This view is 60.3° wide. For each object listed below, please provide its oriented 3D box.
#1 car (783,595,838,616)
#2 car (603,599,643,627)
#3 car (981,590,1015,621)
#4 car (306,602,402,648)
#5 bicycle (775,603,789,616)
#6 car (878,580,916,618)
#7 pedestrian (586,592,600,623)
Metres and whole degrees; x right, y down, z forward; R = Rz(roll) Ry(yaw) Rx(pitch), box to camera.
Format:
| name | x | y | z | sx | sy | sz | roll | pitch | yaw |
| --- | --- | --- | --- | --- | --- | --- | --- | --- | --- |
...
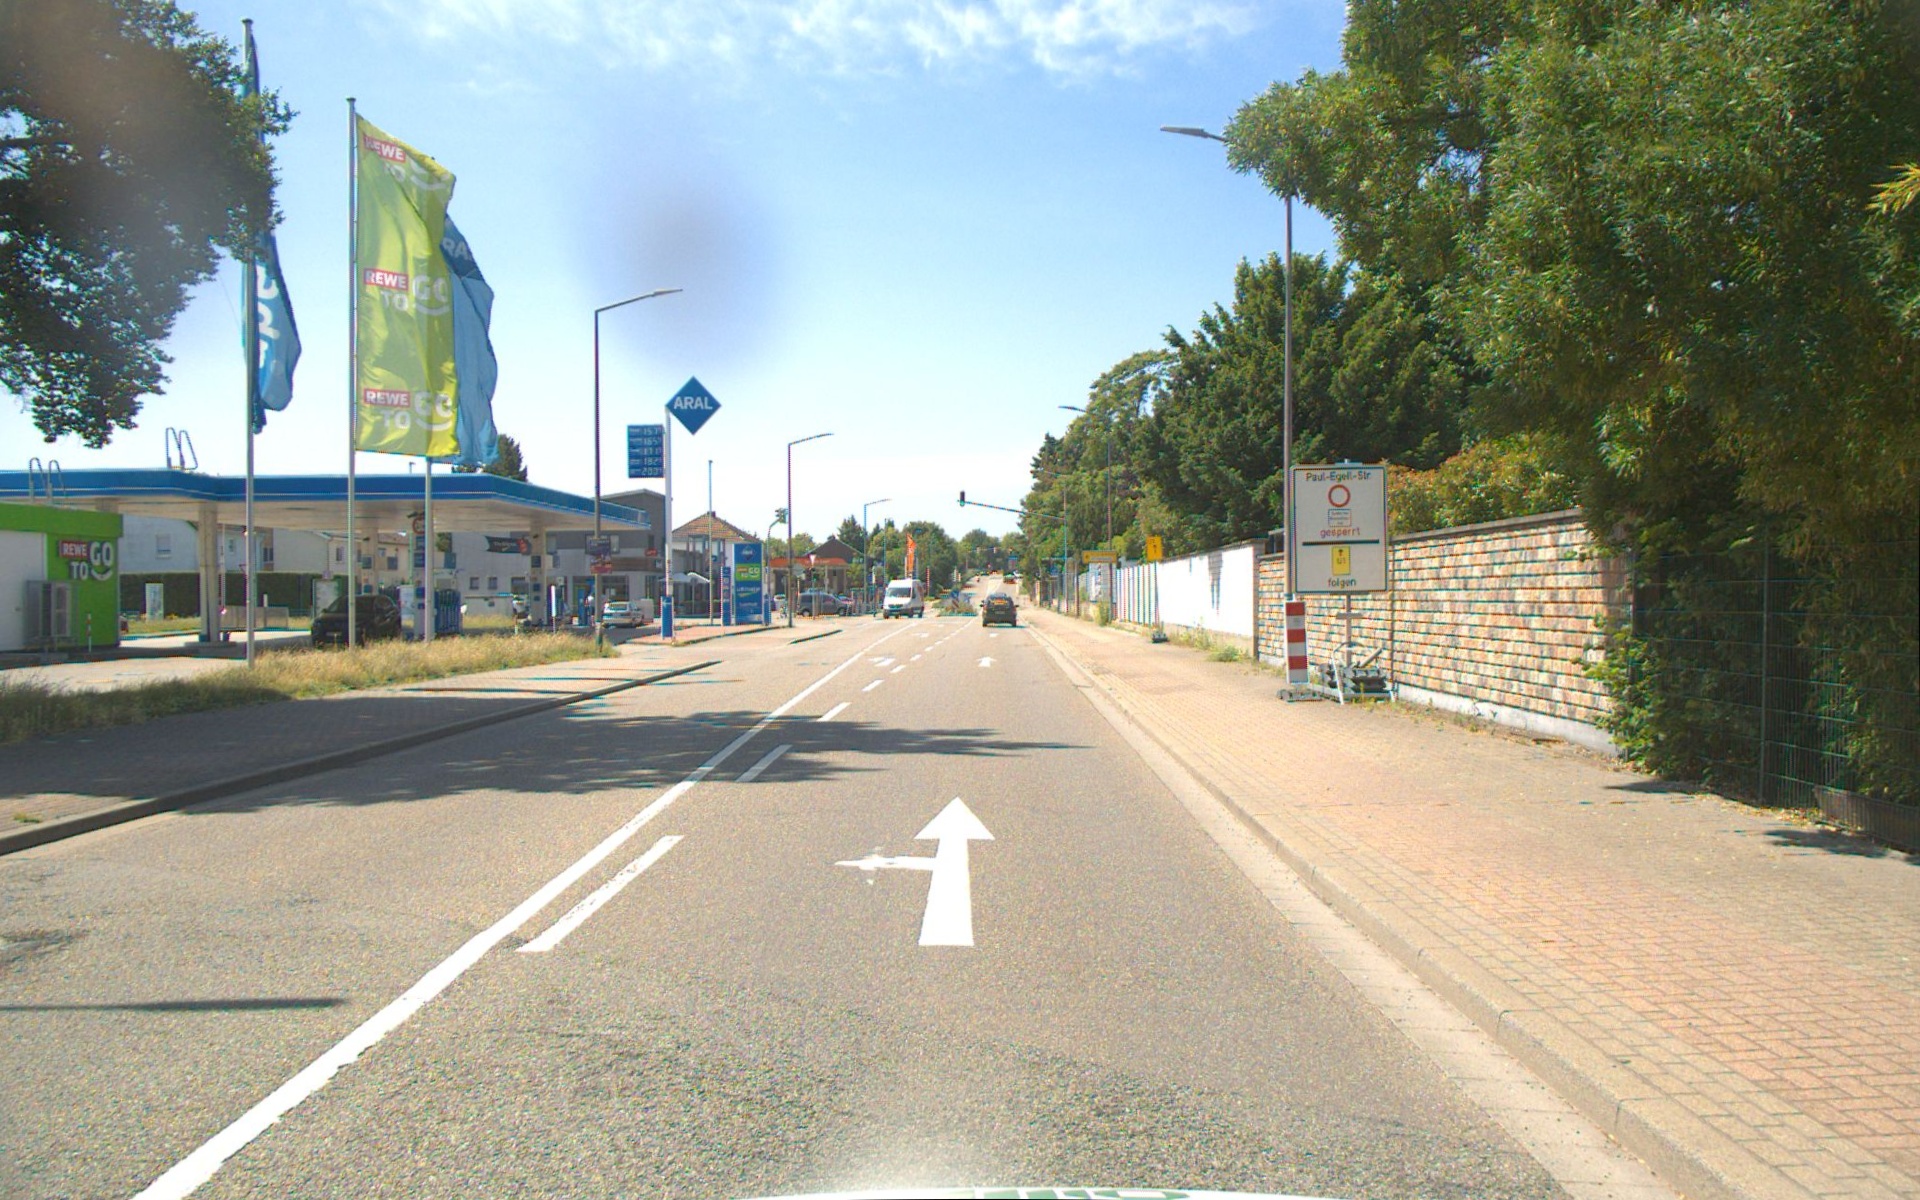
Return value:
| name | x | y | z | sx | sy | sz | roll | pitch | yaw |
| --- | --- | --- | --- | --- | --- | --- | --- | --- | --- |
| car | -11.000 | 0.402 | 121.875 | 3.907 | 1.534 | 1.554 | -1 | 0 | -3 |
| car | -18.588 | 0.688 | 91.354 | 1.585 | 1.445 | 3.709 | -2 | 0 | -3 |
| car | 1.825 | 0.249 | 79.679 | 1.631 | 1.481 | 3.473 | 0 | 0 | 1 |
| car | -20.144 | 0.808 | 55.138 | 1.635 | 1.406 | 4.001 | -1 | 0 | 1 |
| bicycle | -12.155 | 0.651 | 113.044 | 0.600 | 0.807 | 2.575 | 0 | 0 | 1 |
| car | -4.338 | -0.044 | 114.395 | 1.951 | 2.465 | 5.950 | 1 | -1 | 4 |
| pedestrian | -20.430 | 0.403 | 92.135 | 0.603 | 1.721 | 0.703 | -1 | 0 | -25 |
